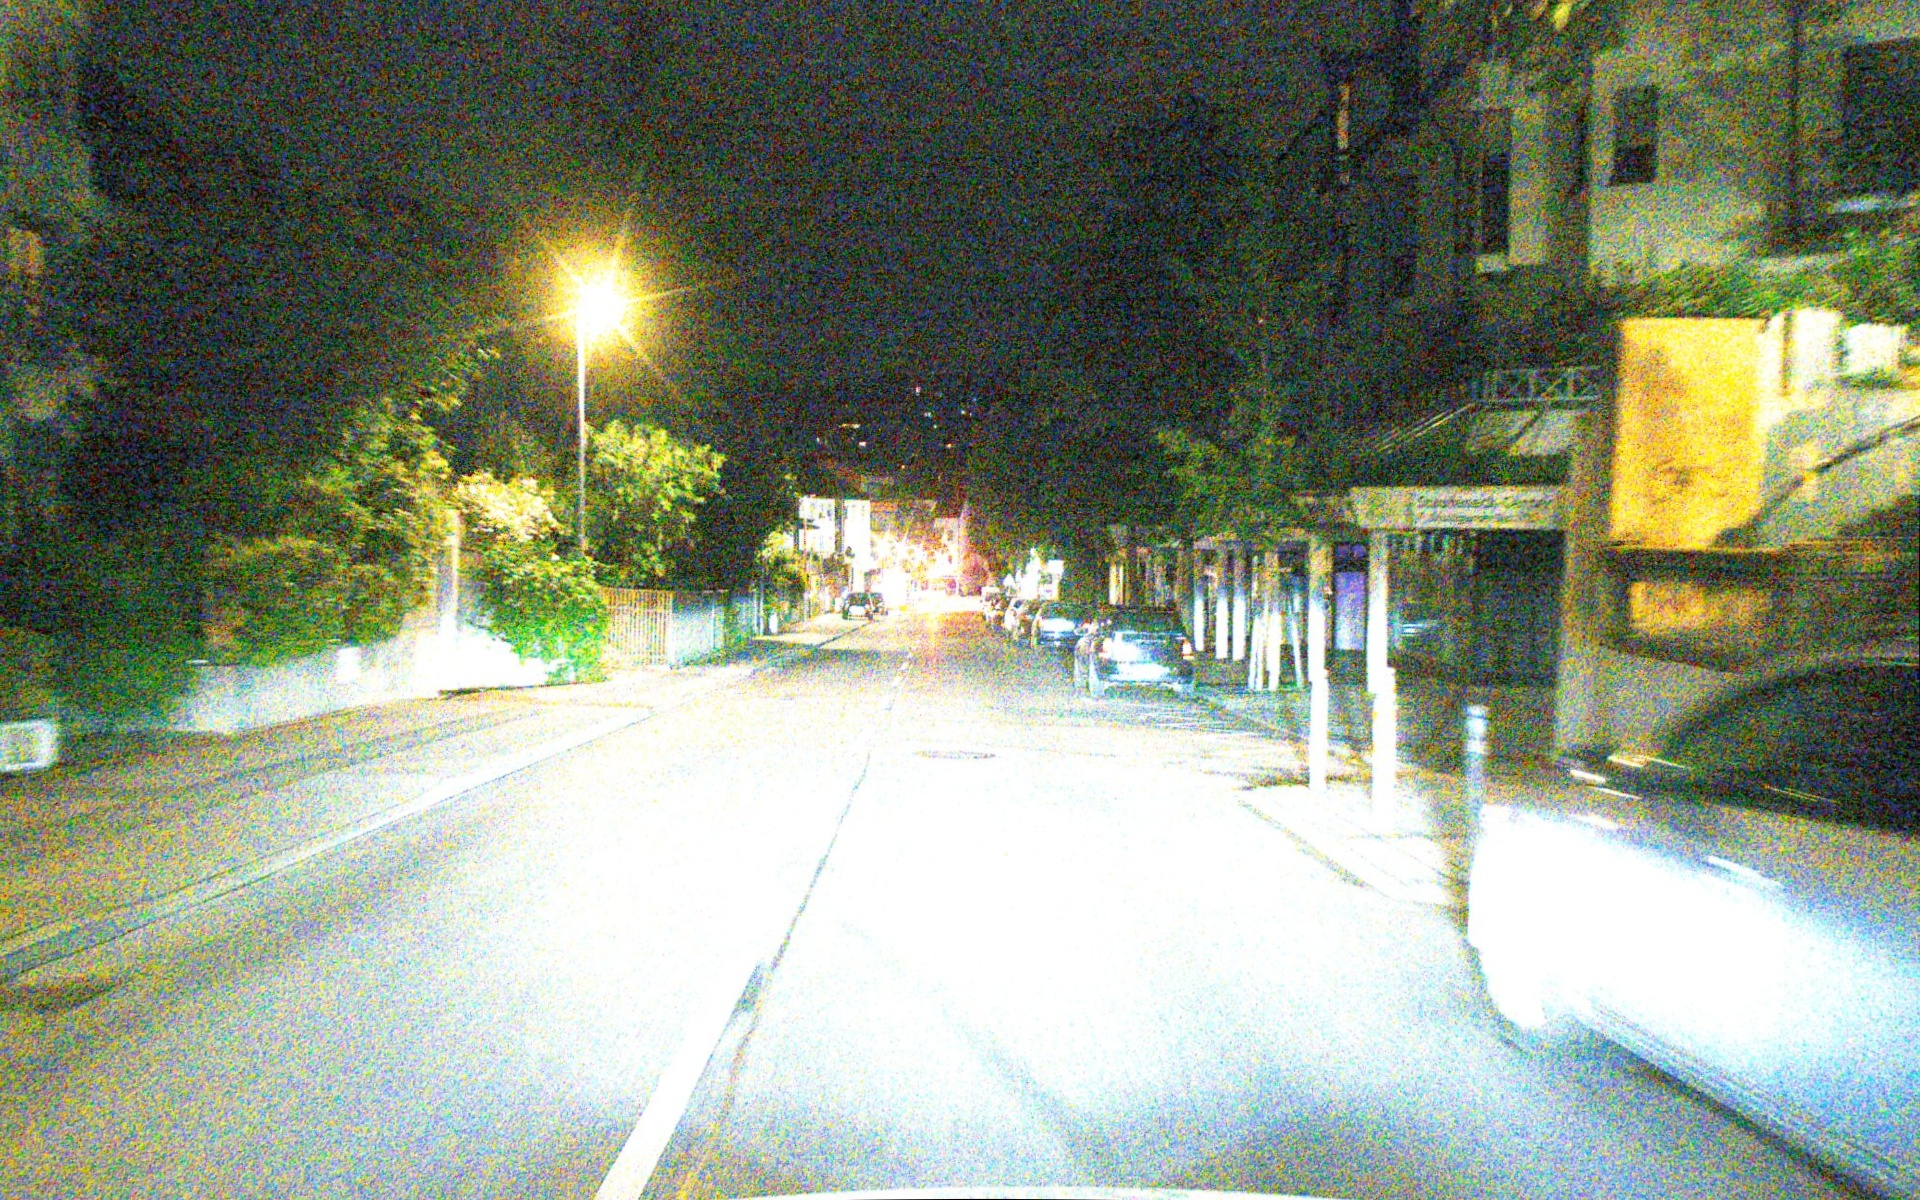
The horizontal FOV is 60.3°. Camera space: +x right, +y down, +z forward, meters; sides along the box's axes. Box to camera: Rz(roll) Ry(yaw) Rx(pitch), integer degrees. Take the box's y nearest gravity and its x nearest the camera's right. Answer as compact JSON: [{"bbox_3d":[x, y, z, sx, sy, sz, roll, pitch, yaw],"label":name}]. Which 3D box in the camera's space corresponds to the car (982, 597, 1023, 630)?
[{"bbox_3d":[1.989,0.628,78.081,1.648,1.474,3.998,2,0,-2],"label":"car"}]

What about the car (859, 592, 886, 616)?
[{"bbox_3d":[-5.860,0.262,110.695,1.718,1.566,3.729,0,0,-2],"label":"car"}]

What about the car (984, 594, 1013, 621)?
[{"bbox_3d":[2.268,0.447,98.494,1.648,1.566,4.000,0,0,0],"label":"car"}]

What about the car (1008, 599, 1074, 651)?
[{"bbox_3d":[2.495,0.751,51.661,1.649,1.474,3.998,2,0,-3],"label":"car"}]

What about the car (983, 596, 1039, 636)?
[{"bbox_3d":[2.014,0.626,66.905,1.650,1.474,3.994,2,0,-7],"label":"car"}]

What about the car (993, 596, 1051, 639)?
[{"bbox_3d":[2.302,0.638,62.254,1.650,1.474,3.995,2,0,-6],"label":"car"}]

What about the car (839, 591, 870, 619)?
[{"bbox_3d":[-5.993,0.284,93.570,1.718,1.566,3.728,0,0,-4],"label":"car"}]

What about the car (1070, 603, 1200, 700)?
[{"bbox_3d":[2.828,0.797,27.435,1.597,1.464,3.863,1,0,-2],"label":"car"}]

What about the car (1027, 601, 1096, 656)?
[{"bbox_3d":[2.863,0.774,46.819,1.829,1.427,4.002,2,0,3],"label":"car"}]

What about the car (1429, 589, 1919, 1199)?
[{"bbox_3d":[2.858,0.759,4.340,1.728,1.501,4.272,2,0,-4],"label":"car"}]
